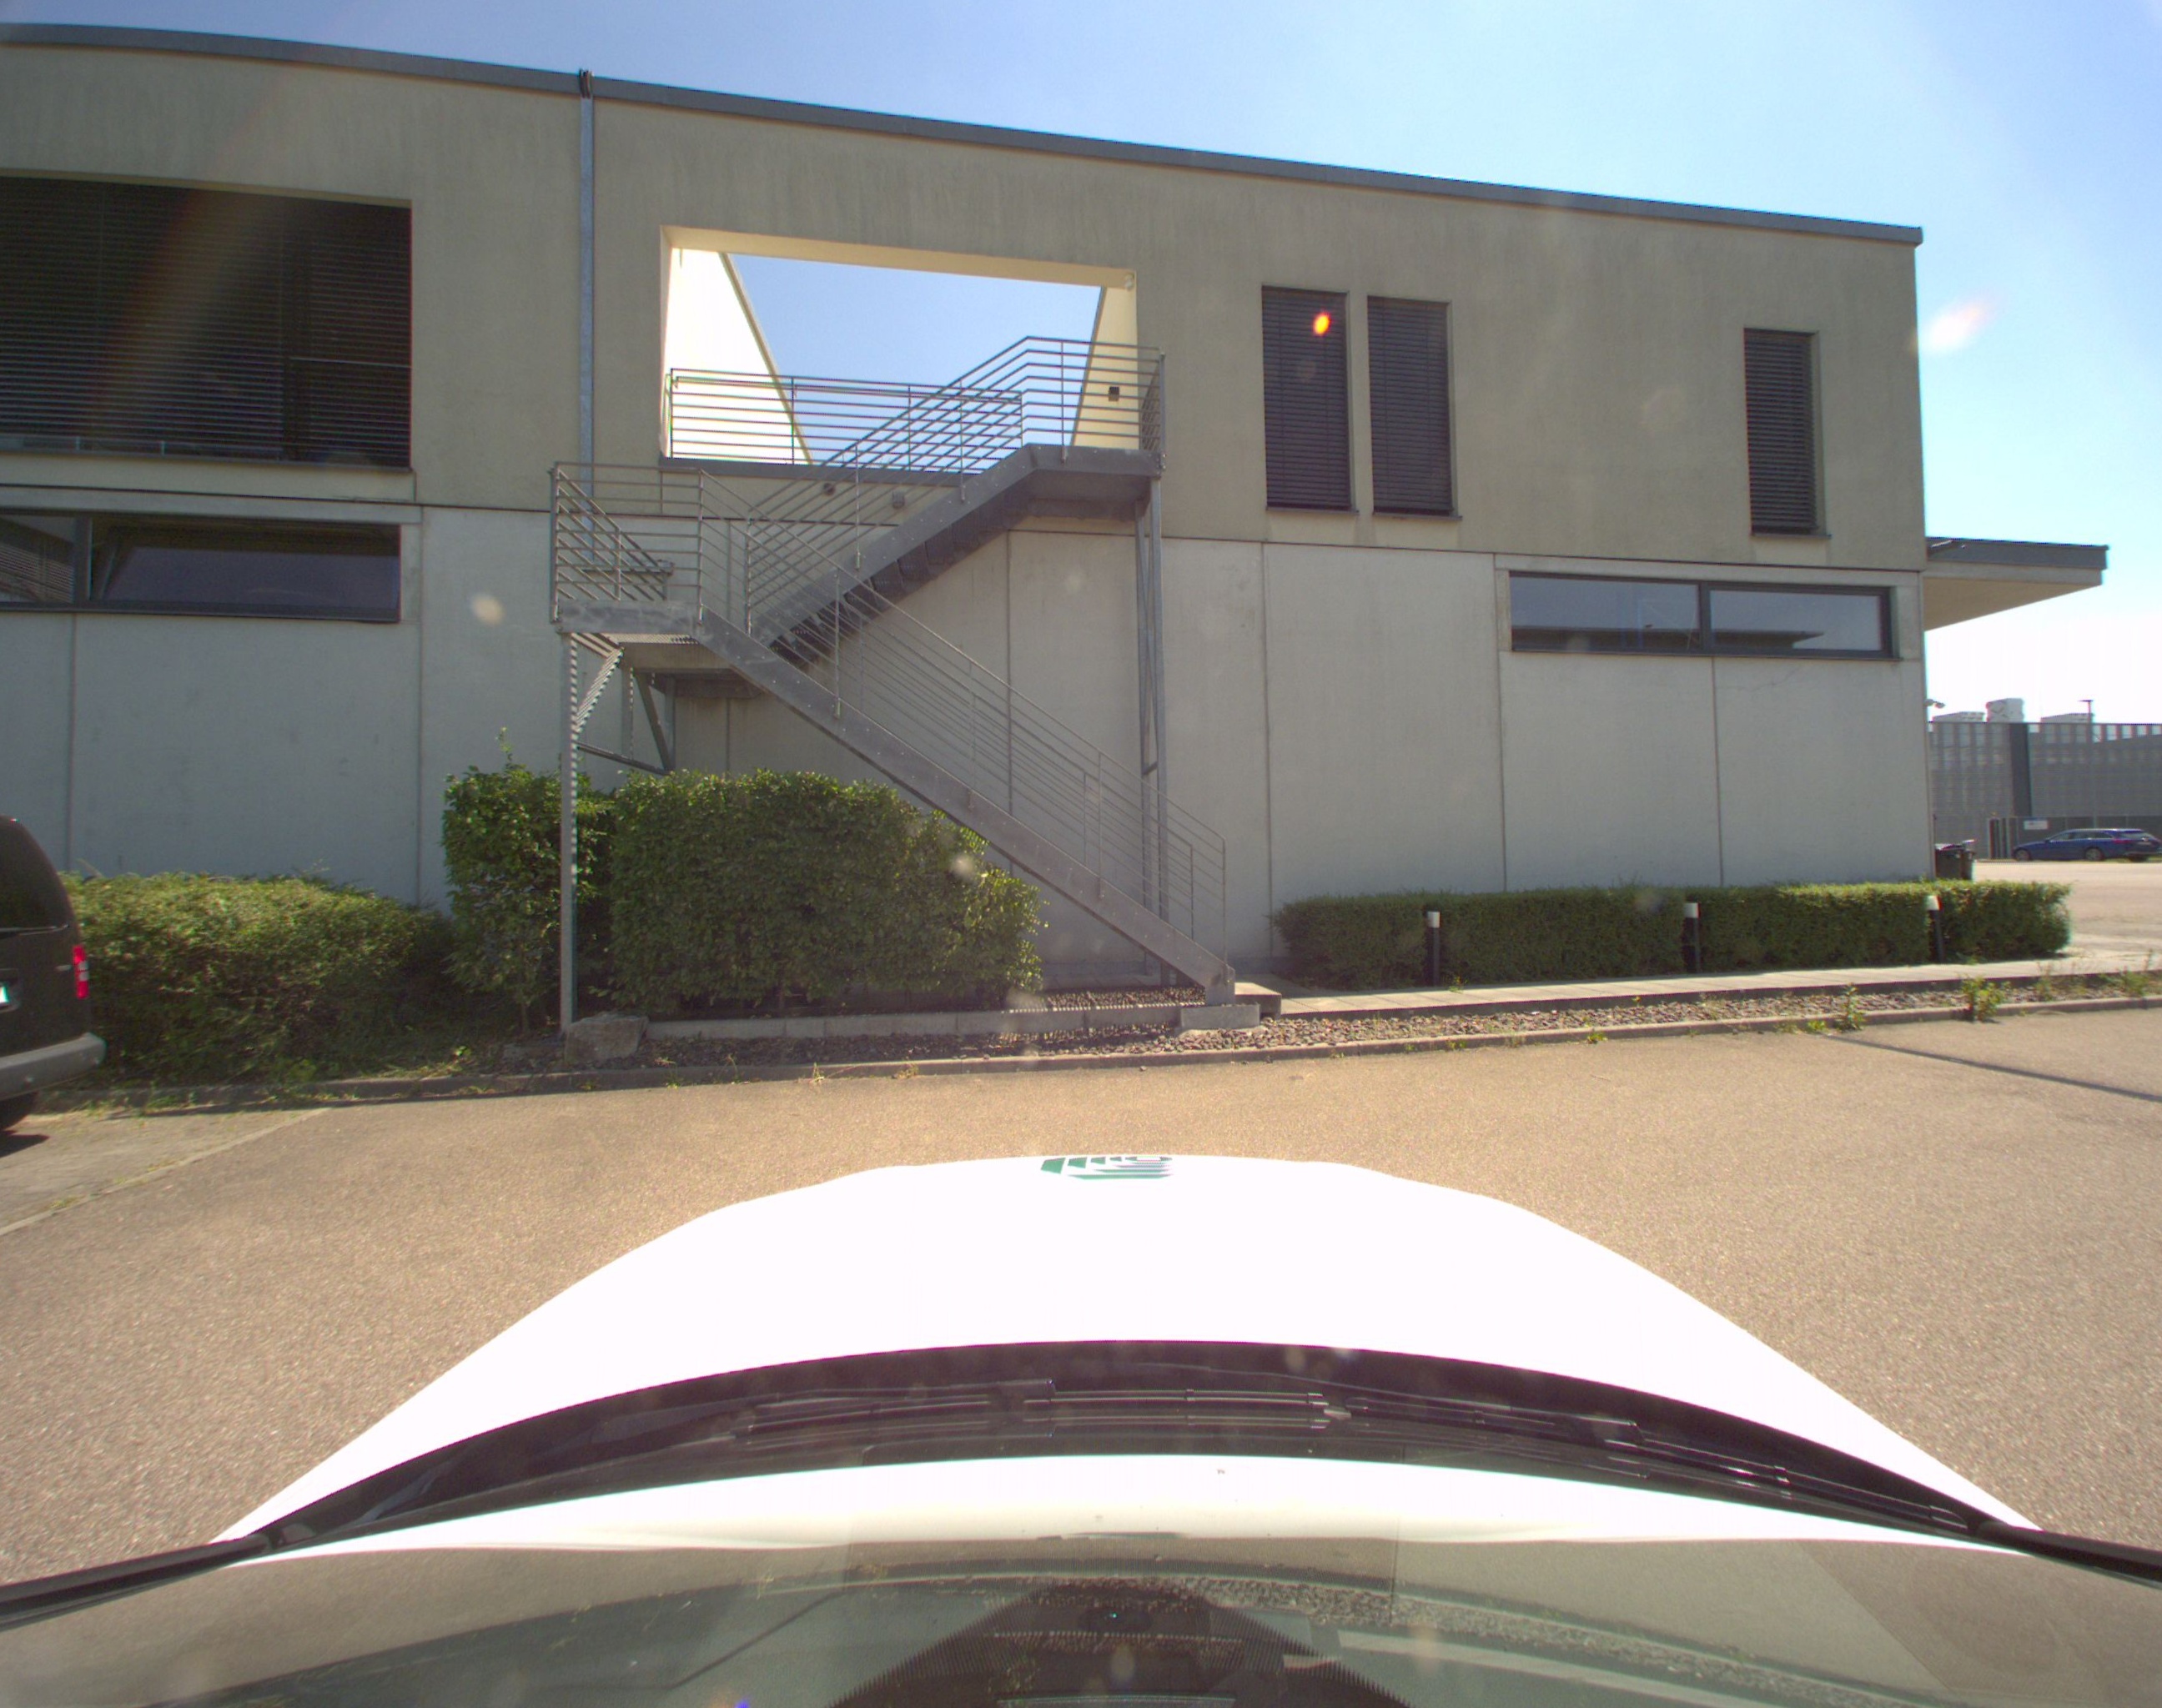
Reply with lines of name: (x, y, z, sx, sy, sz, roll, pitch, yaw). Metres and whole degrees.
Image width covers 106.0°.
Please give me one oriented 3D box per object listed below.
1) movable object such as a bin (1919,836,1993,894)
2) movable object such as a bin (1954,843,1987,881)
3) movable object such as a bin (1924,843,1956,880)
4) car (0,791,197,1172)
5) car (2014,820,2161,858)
movable object such as a bin: (21.005, 0.263, 19.568, 0.879, 1.345, 0.813, -1, -1, -2)
movable object such as a bin: (24.818, 0.214, 22.717, 0.428, 1.036, 0.572, -1, -1, -41)
movable object such as a bin: (24.439, 0.225, 23.170, 0.428, 1.027, 0.575, -1, -1, -41)
car: (-7.381, 0.657, 3.744, 4.213, 1.860, 1.863, -1, 0, -9)
car: (44.116, -0.625, 35.507, 1.983, 1.491, 4.523, -2, 0, 6)
